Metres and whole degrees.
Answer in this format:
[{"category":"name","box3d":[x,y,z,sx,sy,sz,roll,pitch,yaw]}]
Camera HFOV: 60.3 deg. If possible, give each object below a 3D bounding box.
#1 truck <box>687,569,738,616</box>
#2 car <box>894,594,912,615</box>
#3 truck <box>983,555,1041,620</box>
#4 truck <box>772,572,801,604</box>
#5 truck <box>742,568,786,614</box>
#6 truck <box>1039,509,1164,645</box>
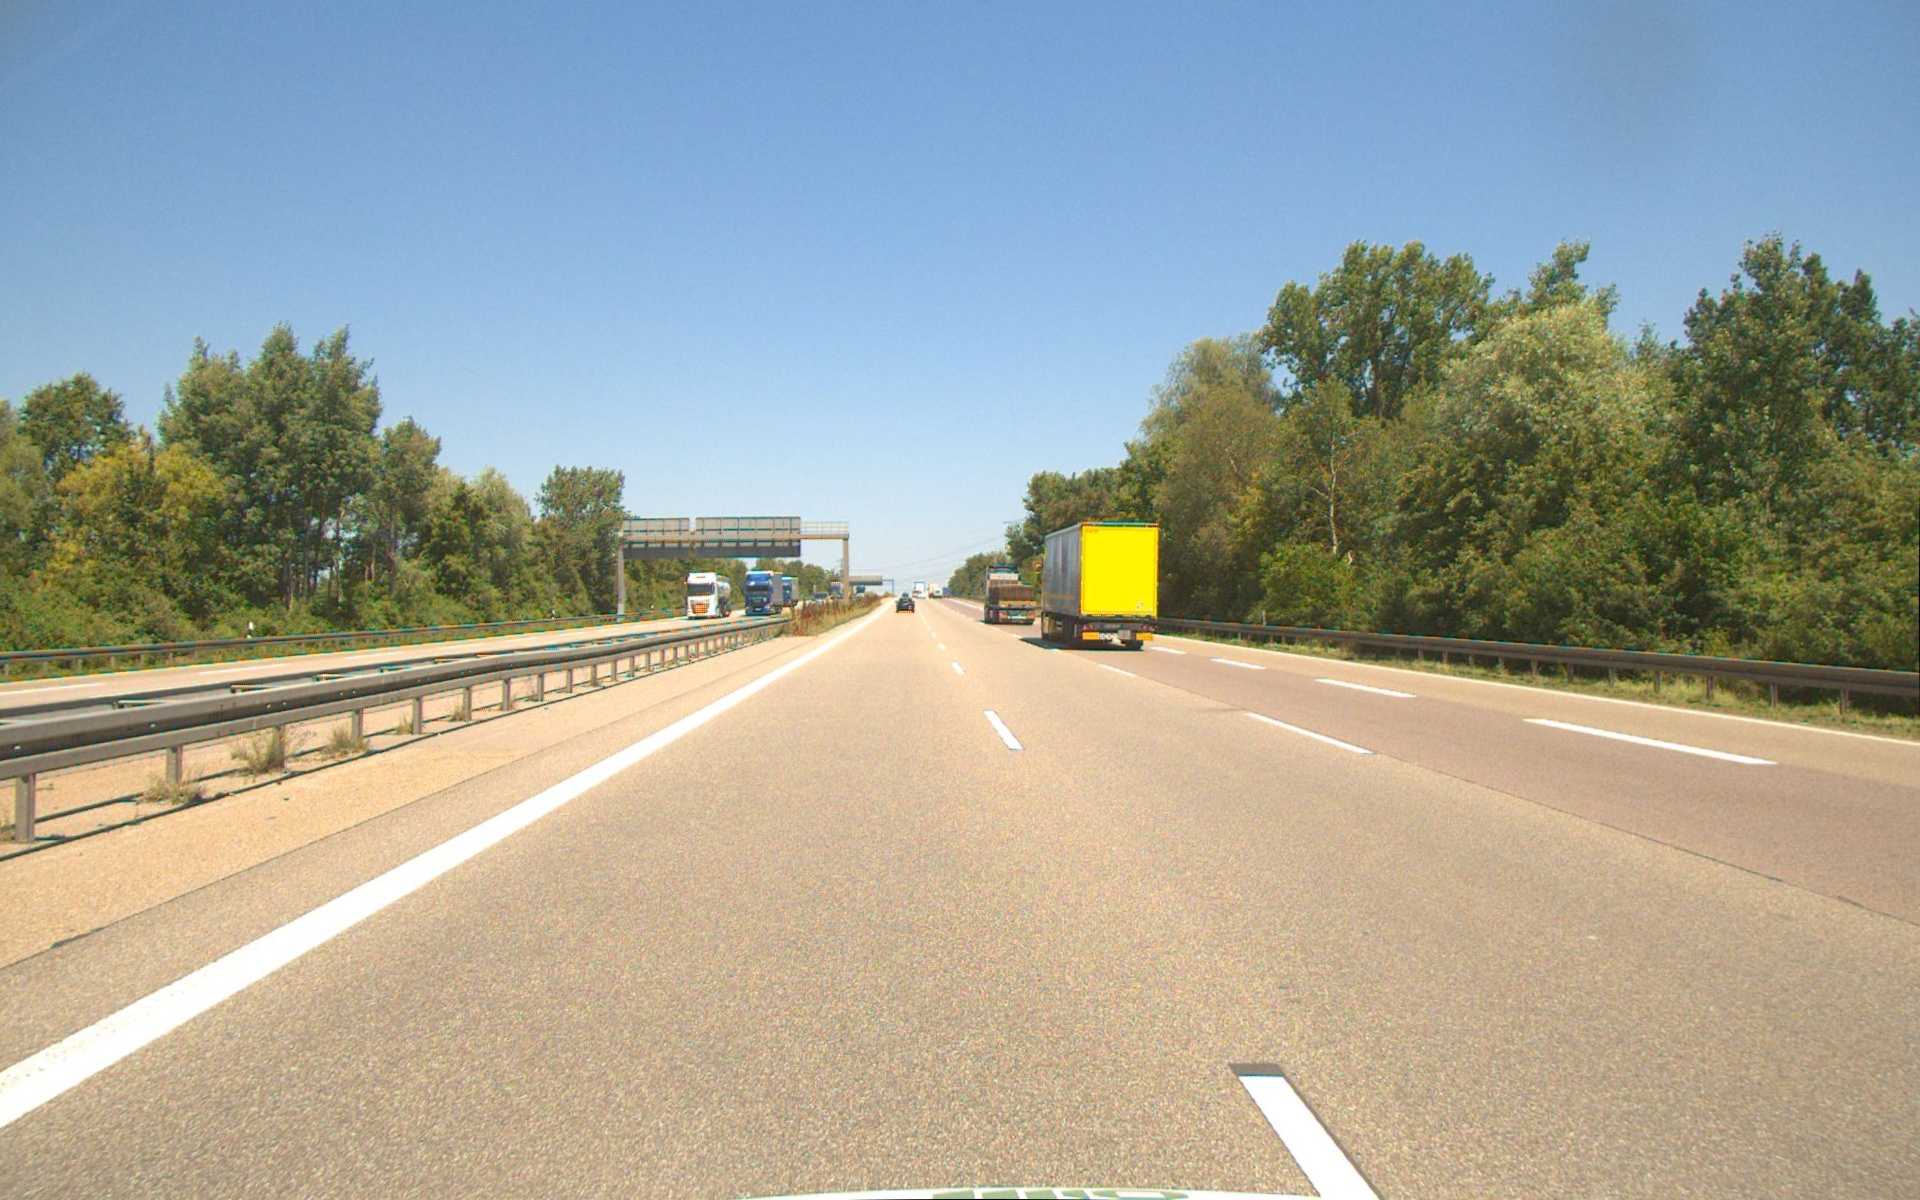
[{"category":"truck","box3d":[-22.729,-0.661,152.719,2.896,4.088,15.813,-1,0,-2]},{"category":"car","box3d":[-5.531,0.446,160.569,1.755,2.049,3.886,1,0,-2]},{"category":"truck","box3d":[3.361,-0.739,111.712,2.909,4.026,16.607,1,0,-1]},{"category":"truck","box3d":[-25.180,-1.660,240.639,2.896,4.418,18.233,-1,0,-2]},{"category":"truck","box3d":[-19.346,-0.867,164.160,2.896,4.320,17.174,-1,0,-2]},{"category":"truck","box3d":[4.943,-0.714,61.430,2.787,4.332,16.786,0,0,-1]}]
